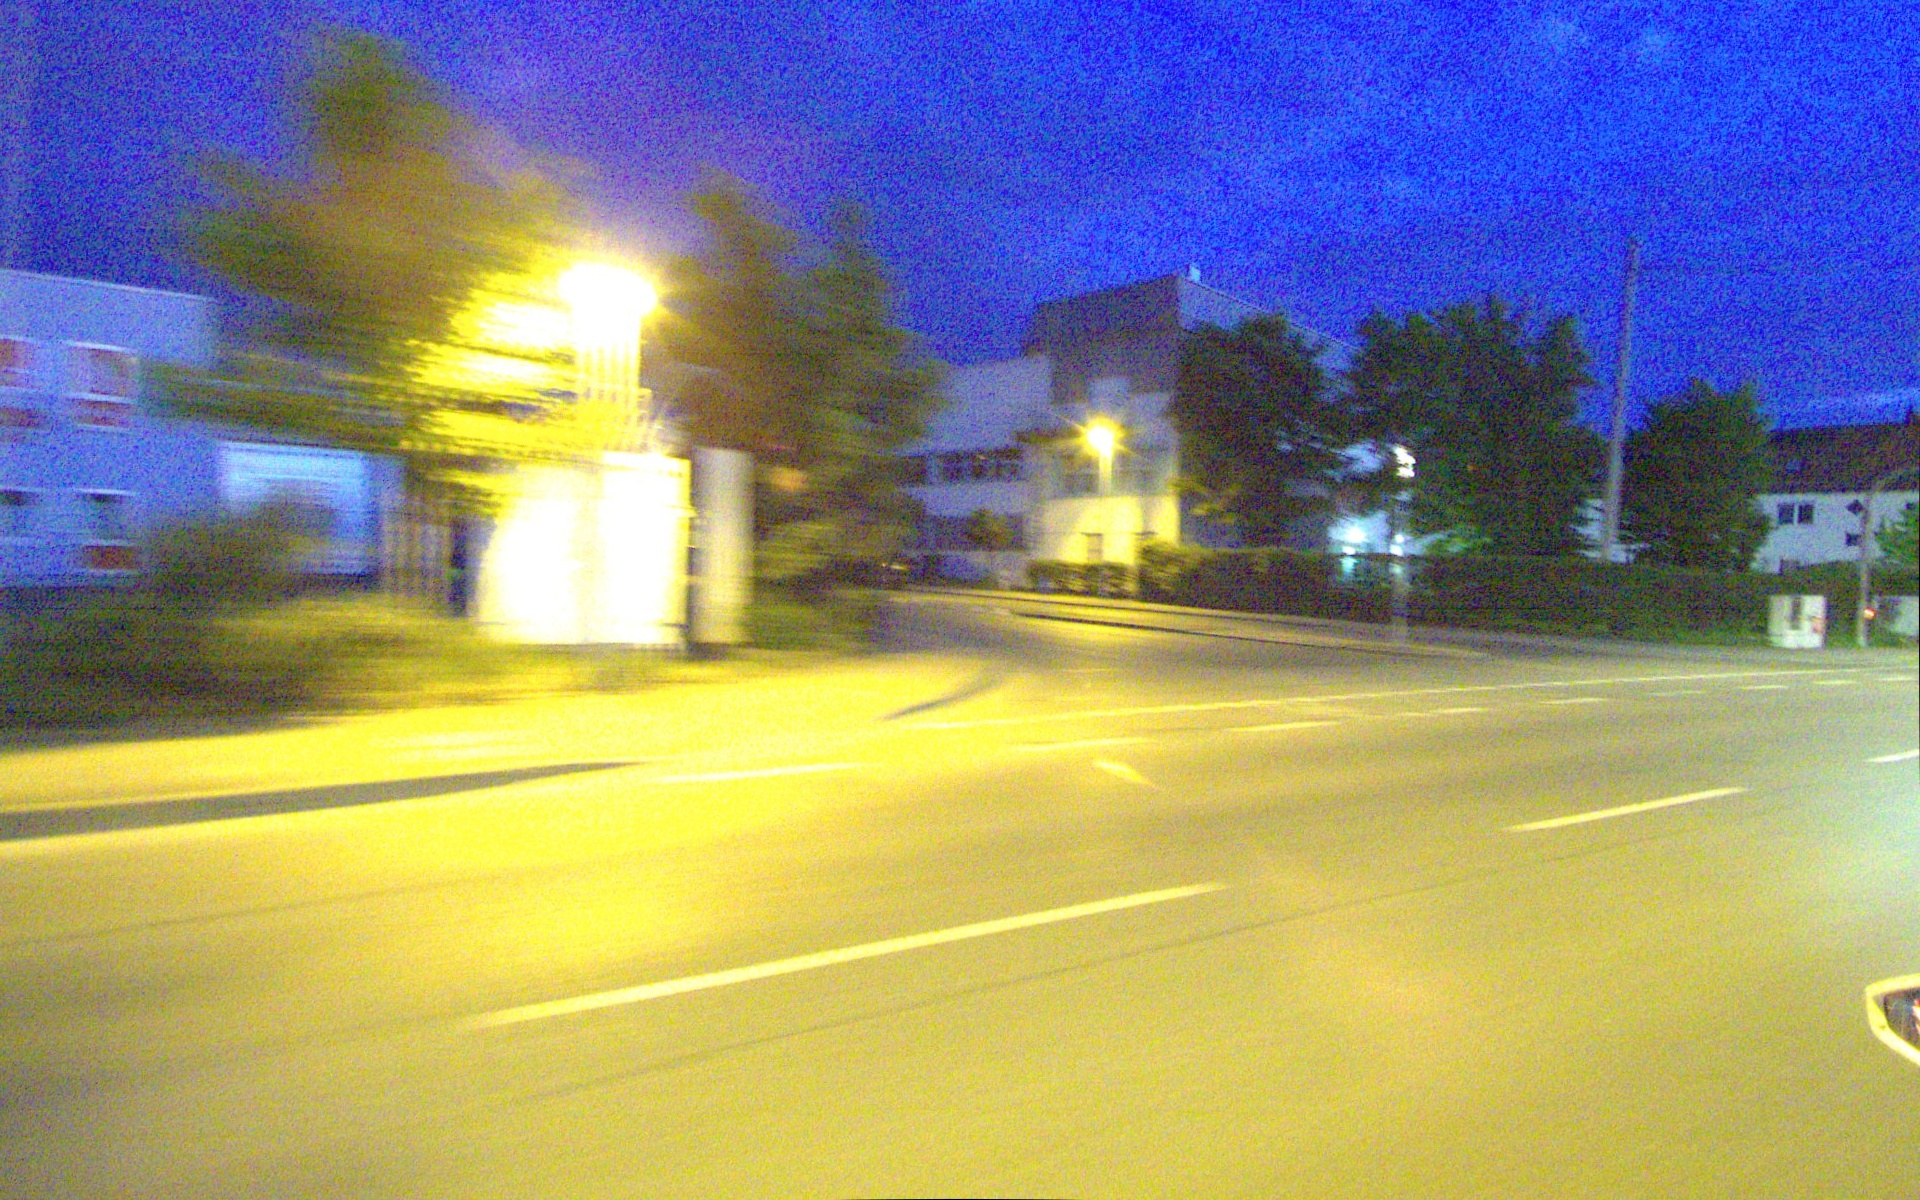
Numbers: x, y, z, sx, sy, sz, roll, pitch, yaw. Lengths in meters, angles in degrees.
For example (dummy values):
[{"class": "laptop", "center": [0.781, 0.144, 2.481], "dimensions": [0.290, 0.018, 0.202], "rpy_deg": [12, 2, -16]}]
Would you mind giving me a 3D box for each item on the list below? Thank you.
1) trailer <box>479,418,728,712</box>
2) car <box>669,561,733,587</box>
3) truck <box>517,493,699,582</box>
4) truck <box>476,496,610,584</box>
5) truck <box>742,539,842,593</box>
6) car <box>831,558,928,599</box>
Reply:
[{"class": "trailer", "center": [-4.353, -0.336, 11.805], "dimensions": [1.977, 2.756, 4.326], "rpy_deg": [0, 1, -31]}, {"class": "car", "center": [-13.875, -1.390, 53.722], "dimensions": [3.520, 1.261, 1.771], "rpy_deg": [3, 2, 44]}, {"class": "truck", "center": [-22.448, -3.894, 62.781], "dimensions": [17.160, 4.875, 3.458], "rpy_deg": [4, 3, 44]}, {"class": "truck", "center": [-20.396, -2.725, 48.755], "dimensions": [2.854, 3.776, 9.479], "rpy_deg": [0, 1, -43]}, {"class": "truck", "center": [-8.139, -1.647, 48.432], "dimensions": [4.972, 2.422, 2.150], "rpy_deg": [4, 3, 43]}, {"class": "car", "center": [-3.573, -0.963, 43.806], "dimensions": [1.898, 1.611, 4.290], "rpy_deg": [0, 3, -45]}]
